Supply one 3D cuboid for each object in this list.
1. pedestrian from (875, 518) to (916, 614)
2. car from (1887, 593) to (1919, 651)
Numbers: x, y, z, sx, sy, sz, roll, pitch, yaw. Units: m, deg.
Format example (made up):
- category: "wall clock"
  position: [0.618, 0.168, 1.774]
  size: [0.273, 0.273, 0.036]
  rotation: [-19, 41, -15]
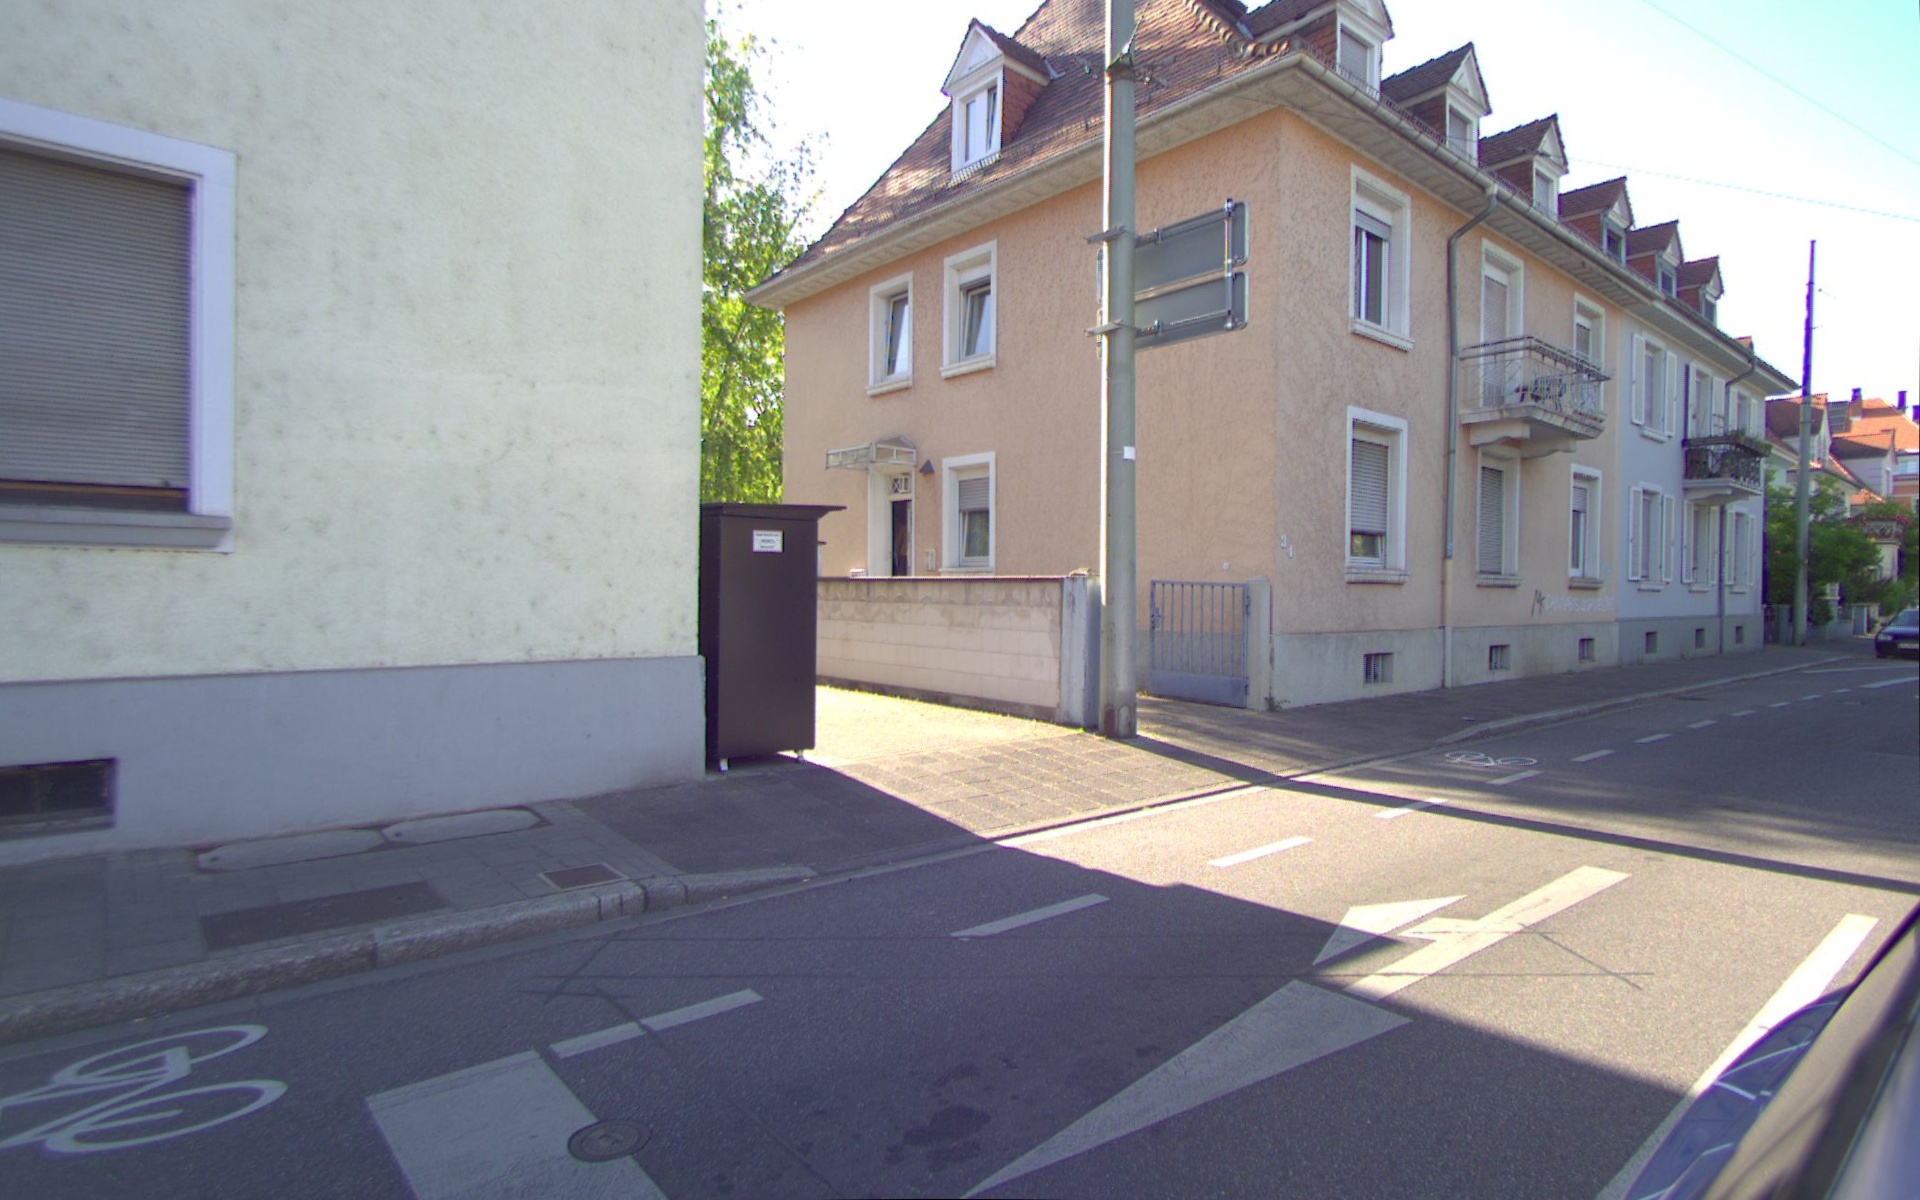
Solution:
- category: "pedestrian"
  position: [-1.218, -0.643, 19.231]
  size: [0.598, 1.783, 0.481]
  rotation: [1, 0, 34]
- category: "car"
  position: [26.829, 0.587, 27.379]
  size: [3.925, 1.504, 1.883]
  rotation: [0, 1, -37]
